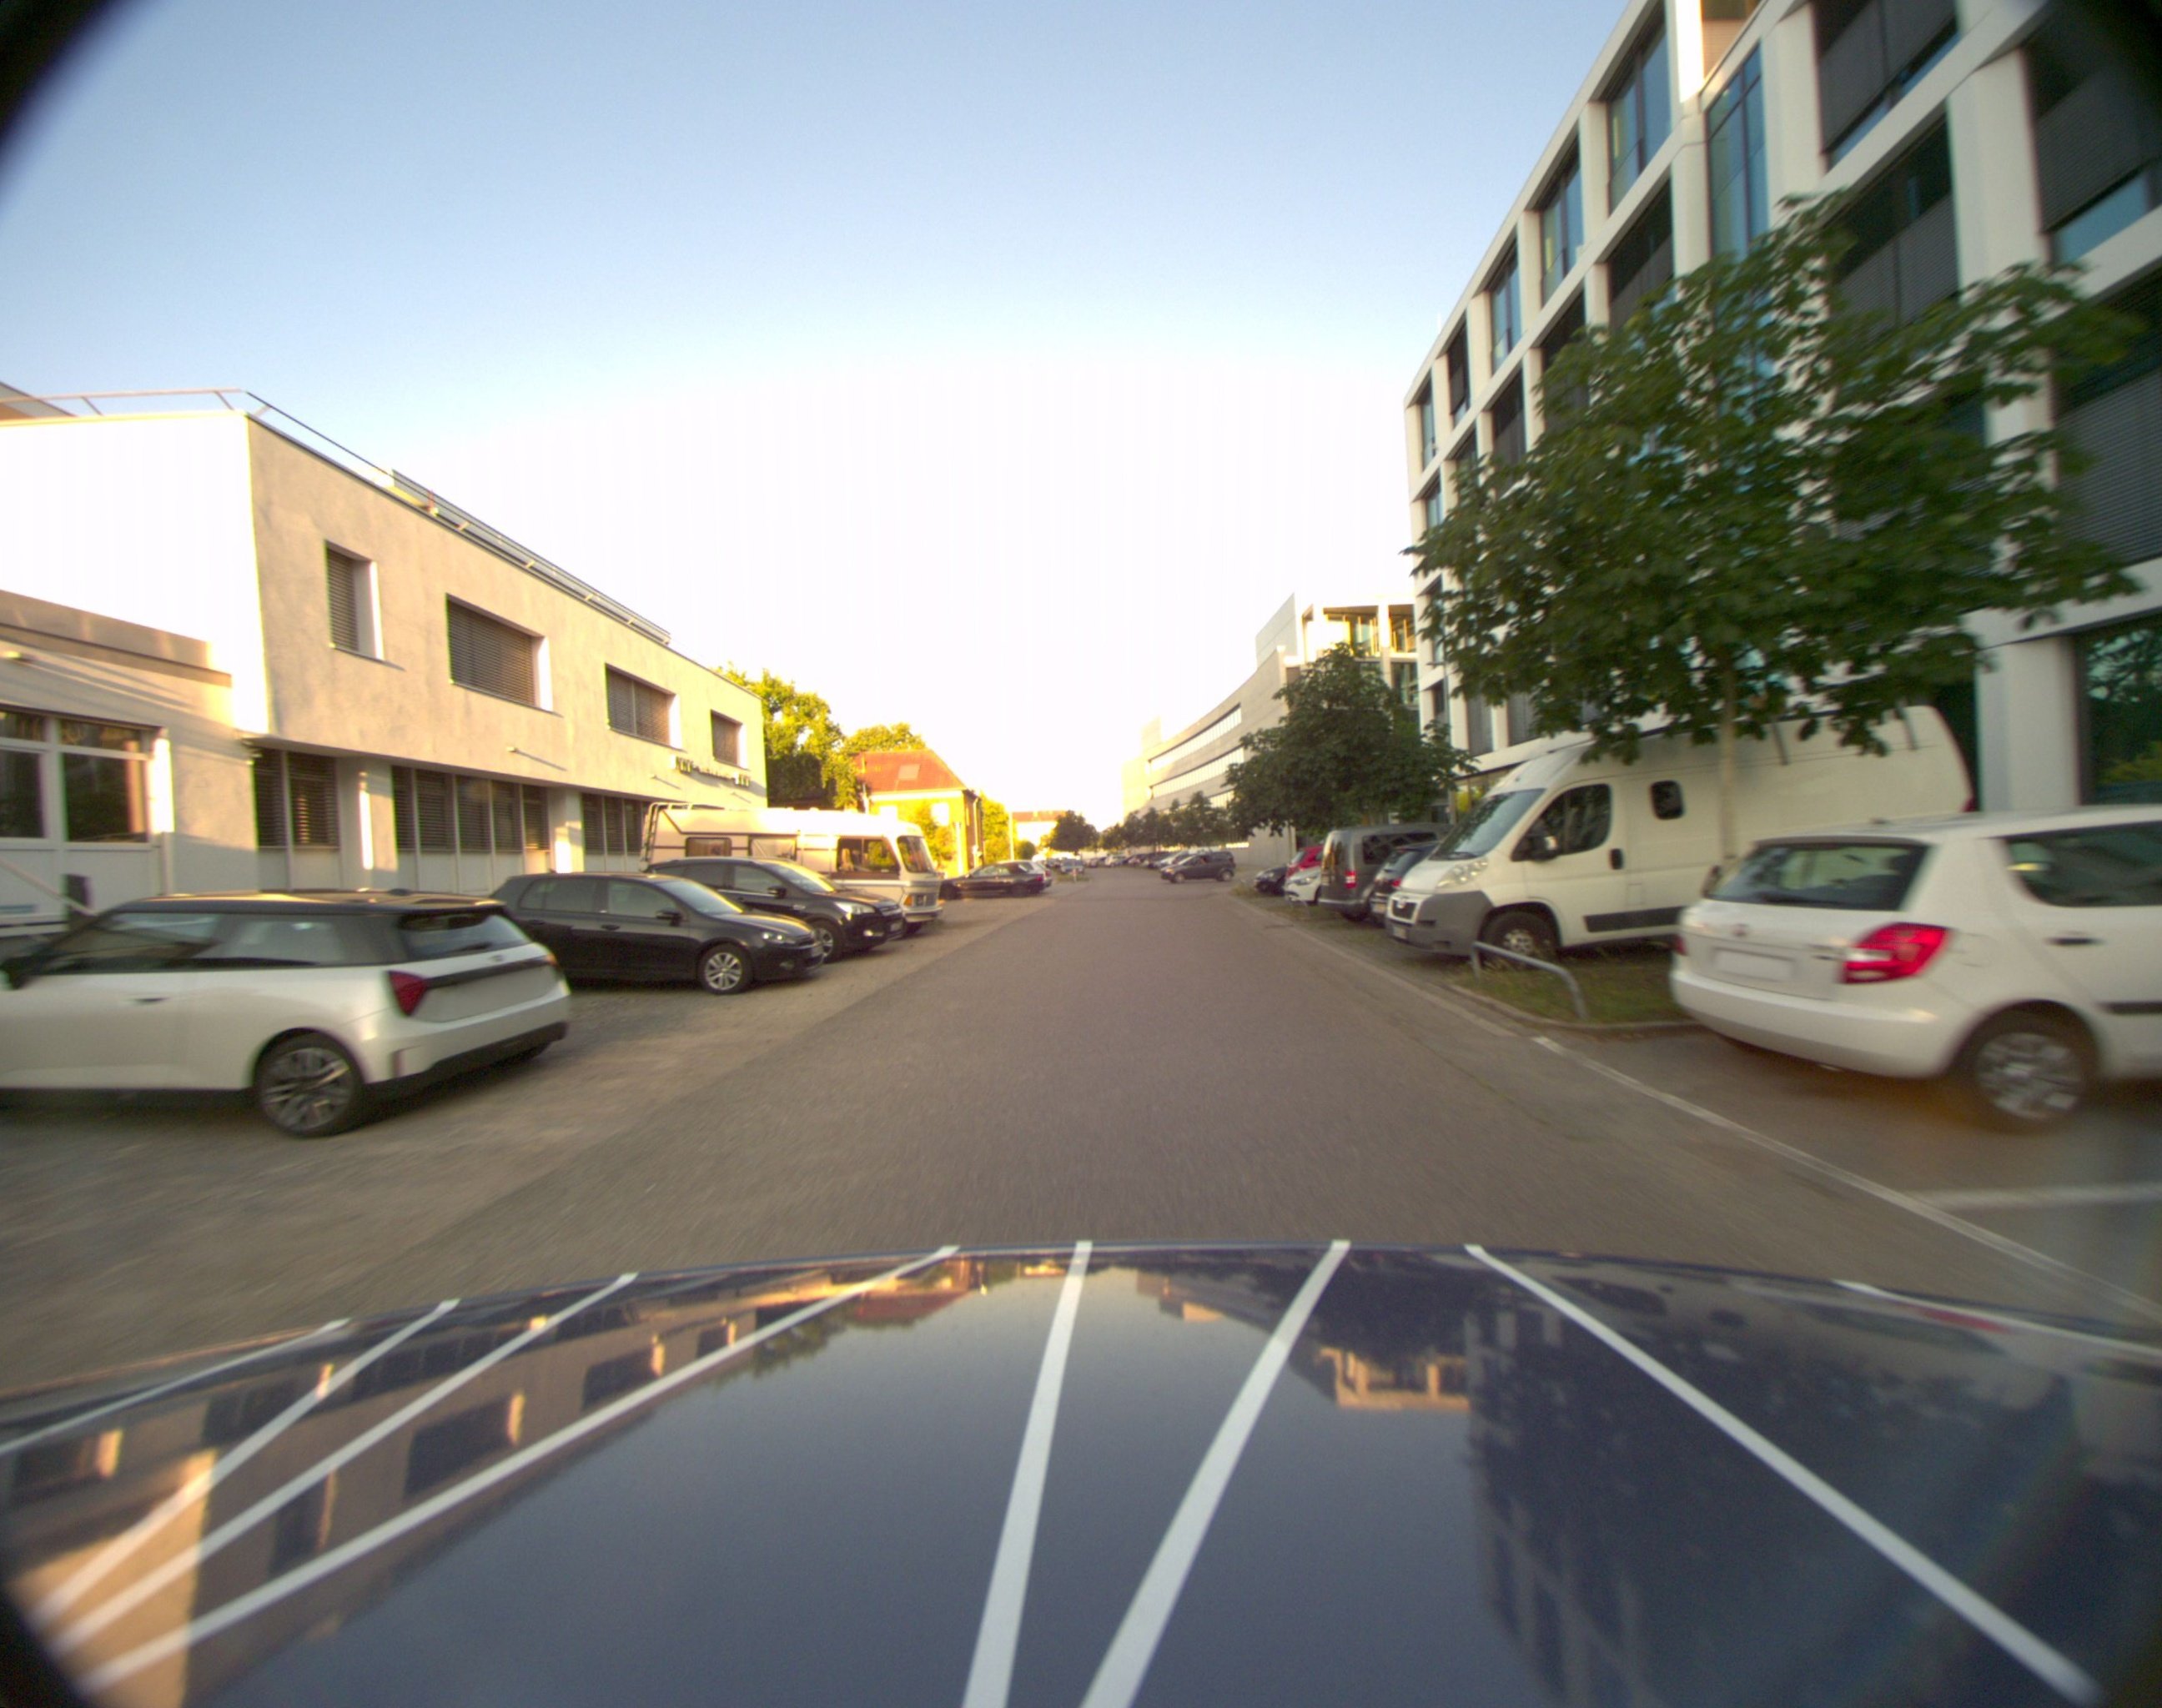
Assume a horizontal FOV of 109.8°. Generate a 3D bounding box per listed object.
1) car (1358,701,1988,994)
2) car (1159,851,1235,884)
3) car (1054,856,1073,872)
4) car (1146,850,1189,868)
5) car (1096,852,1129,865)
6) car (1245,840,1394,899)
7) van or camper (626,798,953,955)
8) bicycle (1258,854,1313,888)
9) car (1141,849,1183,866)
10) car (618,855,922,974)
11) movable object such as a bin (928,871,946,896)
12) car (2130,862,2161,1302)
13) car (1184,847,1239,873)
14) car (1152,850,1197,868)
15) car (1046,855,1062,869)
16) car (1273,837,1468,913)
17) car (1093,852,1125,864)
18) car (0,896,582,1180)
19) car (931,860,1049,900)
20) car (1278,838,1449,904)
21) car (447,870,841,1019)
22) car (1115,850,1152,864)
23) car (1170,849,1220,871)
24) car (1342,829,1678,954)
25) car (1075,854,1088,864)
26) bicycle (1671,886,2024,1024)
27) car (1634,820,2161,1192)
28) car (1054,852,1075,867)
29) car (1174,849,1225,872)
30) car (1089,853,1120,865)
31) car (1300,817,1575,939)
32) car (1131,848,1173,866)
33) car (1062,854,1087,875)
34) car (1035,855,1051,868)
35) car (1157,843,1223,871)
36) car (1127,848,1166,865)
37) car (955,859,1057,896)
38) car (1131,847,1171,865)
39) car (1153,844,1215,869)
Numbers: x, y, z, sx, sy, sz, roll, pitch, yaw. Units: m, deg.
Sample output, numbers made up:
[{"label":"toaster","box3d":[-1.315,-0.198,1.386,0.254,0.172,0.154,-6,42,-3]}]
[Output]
[{"label":"car","box3d":[6.346,-0.024,8.807,5.392,2.617,2.079,-4,0,5]},{"label":"car","box3d":[6.135,0.695,40.423,3.734,1.486,1.649,-3,0,-1]},{"label":"car","box3d":[-1.807,0.954,75.741,1.770,1.454,4.367,-2,0,-2]},{"label":"car","box3d":[8.311,0.453,73.298,3.812,1.353,1.799,-5,0,-3]},{"label":"car","box3d":[4.151,0.599,101.573,4.028,1.340,1.798,-5,0,-8]},{"label":"car","box3d":[7.516,0.479,24.237,4.118,1.509,1.845,-4,0,2]},{"label":"van or camper","box3d":[-5.848,0.432,15.944,5.794,2.848,2.486,-2,1,0]},{"label":"bicycle","box3d":[7.098,0.592,26.448,1.699,1.059,0.566,-4,0,4]},{"label":"car","box3d":[8.057,0.390,75.754,3.812,1.353,1.799,-5,0,-3]},{"label":"car","box3d":[-5.097,0.963,12.819,4.249,1.731,1.968,-2,1,6]},{"label":"movable object such as a bin","box3d":[-6.160,1.257,32.622,0.645,1.015,0.711,-3,1,-7]},{"label":"car","box3d":[5.671,0.621,1.498,4.317,1.486,1.795,-4,0,5]},{"label":"car","box3d":[9.482,0.411,55.525,3.654,1.538,1.726,-5,0,3]},{"label":"car","box3d":[8.613,0.454,70.505,3.812,1.353,1.799,-5,0,-3]},{"label":"car","box3d":[-3.155,0.924,87.913,1.770,1.454,4.367,-2,0,-2]},{"label":"car","box3d":[7.086,0.495,18.915,4.117,1.509,1.781,-4,0,3]},{"label":"car","box3d":[3.789,0.585,103.987,4.028,1.340,1.798,-5,0,-8]},{"label":"car","box3d":[-5.912,1.143,5.264,3.714,1.470,1.712,-2,0,0]},{"label":"car","box3d":[-3.463,0.990,29.624,4.326,1.326,1.896,-2,1,0]},{"label":"car","box3d":[7.911,0.457,21.614,4.117,1.509,1.845,-4,0,3]},{"label":"car","box3d":[-5.404,1.081,9.821,4.015,1.554,1.711,-2,0,-2]},{"label":"car","box3d":[6.268,0.357,91.374,4.028,1.340,1.798,-5,0,-8]},{"label":"car","box3d":[9.110,0.452,60.772,3.654,1.416,1.726,-5,0,2]},{"label":"car","box3d":[6.459,0.542,11.771,4.119,1.490,1.774,-4,0,-1]},{"label":"car","box3d":[0.100,0.797,126.691,1.798,1.442,4.027,-5,0,-3]},{"label":"bicycle","box3d":[6.155,0.760,6.237,0.675,0.910,1.908,-4,-1,-35]},{"label":"car","box3d":[5.539,0.625,4.115,3.716,1.486,1.708,-4,0,3]},{"label":"car","box3d":[-1.798,0.611,81.258,1.771,1.454,4.366,-2,0,-6]},{"label":"car","box3d":[9.052,0.500,58.323,3.654,1.416,1.726,-5,0,3]},{"label":"car","box3d":[3.260,0.645,106.428,4.028,1.340,1.798,-5,0,-8]},{"label":"car","box3d":[6.429,0.421,14.032,4.119,1.806,1.816,-4,0,-1]},{"label":"car","box3d":[7.615,0.288,81.399,4.028,1.574,1.798,-5,0,-8]},{"label":"car","box3d":[-0.479,0.768,56.858,1.680,1.454,4.368,-2,0,1]},{"label":"car","box3d":[-4.720,0.941,94.775,1.770,1.454,4.367,-2,0,-2]},{"label":"car","box3d":[9.092,0.251,63.450,5.082,1.870,1.889,-5,0,-3]},{"label":"car","box3d":[7.439,0.271,86.470,4.028,1.574,1.798,-5,0,-8]},{"label":"car","box3d":[-3.097,0.956,32.034,4.066,1.399,1.896,-2,0,0]},{"label":"car","box3d":[7.742,0.220,84.242,4.028,1.574,1.798,-5,0,-8]},{"label":"car","box3d":[9.253,0.190,68.417,5.082,1.816,1.889,-5,0,-3]}]
